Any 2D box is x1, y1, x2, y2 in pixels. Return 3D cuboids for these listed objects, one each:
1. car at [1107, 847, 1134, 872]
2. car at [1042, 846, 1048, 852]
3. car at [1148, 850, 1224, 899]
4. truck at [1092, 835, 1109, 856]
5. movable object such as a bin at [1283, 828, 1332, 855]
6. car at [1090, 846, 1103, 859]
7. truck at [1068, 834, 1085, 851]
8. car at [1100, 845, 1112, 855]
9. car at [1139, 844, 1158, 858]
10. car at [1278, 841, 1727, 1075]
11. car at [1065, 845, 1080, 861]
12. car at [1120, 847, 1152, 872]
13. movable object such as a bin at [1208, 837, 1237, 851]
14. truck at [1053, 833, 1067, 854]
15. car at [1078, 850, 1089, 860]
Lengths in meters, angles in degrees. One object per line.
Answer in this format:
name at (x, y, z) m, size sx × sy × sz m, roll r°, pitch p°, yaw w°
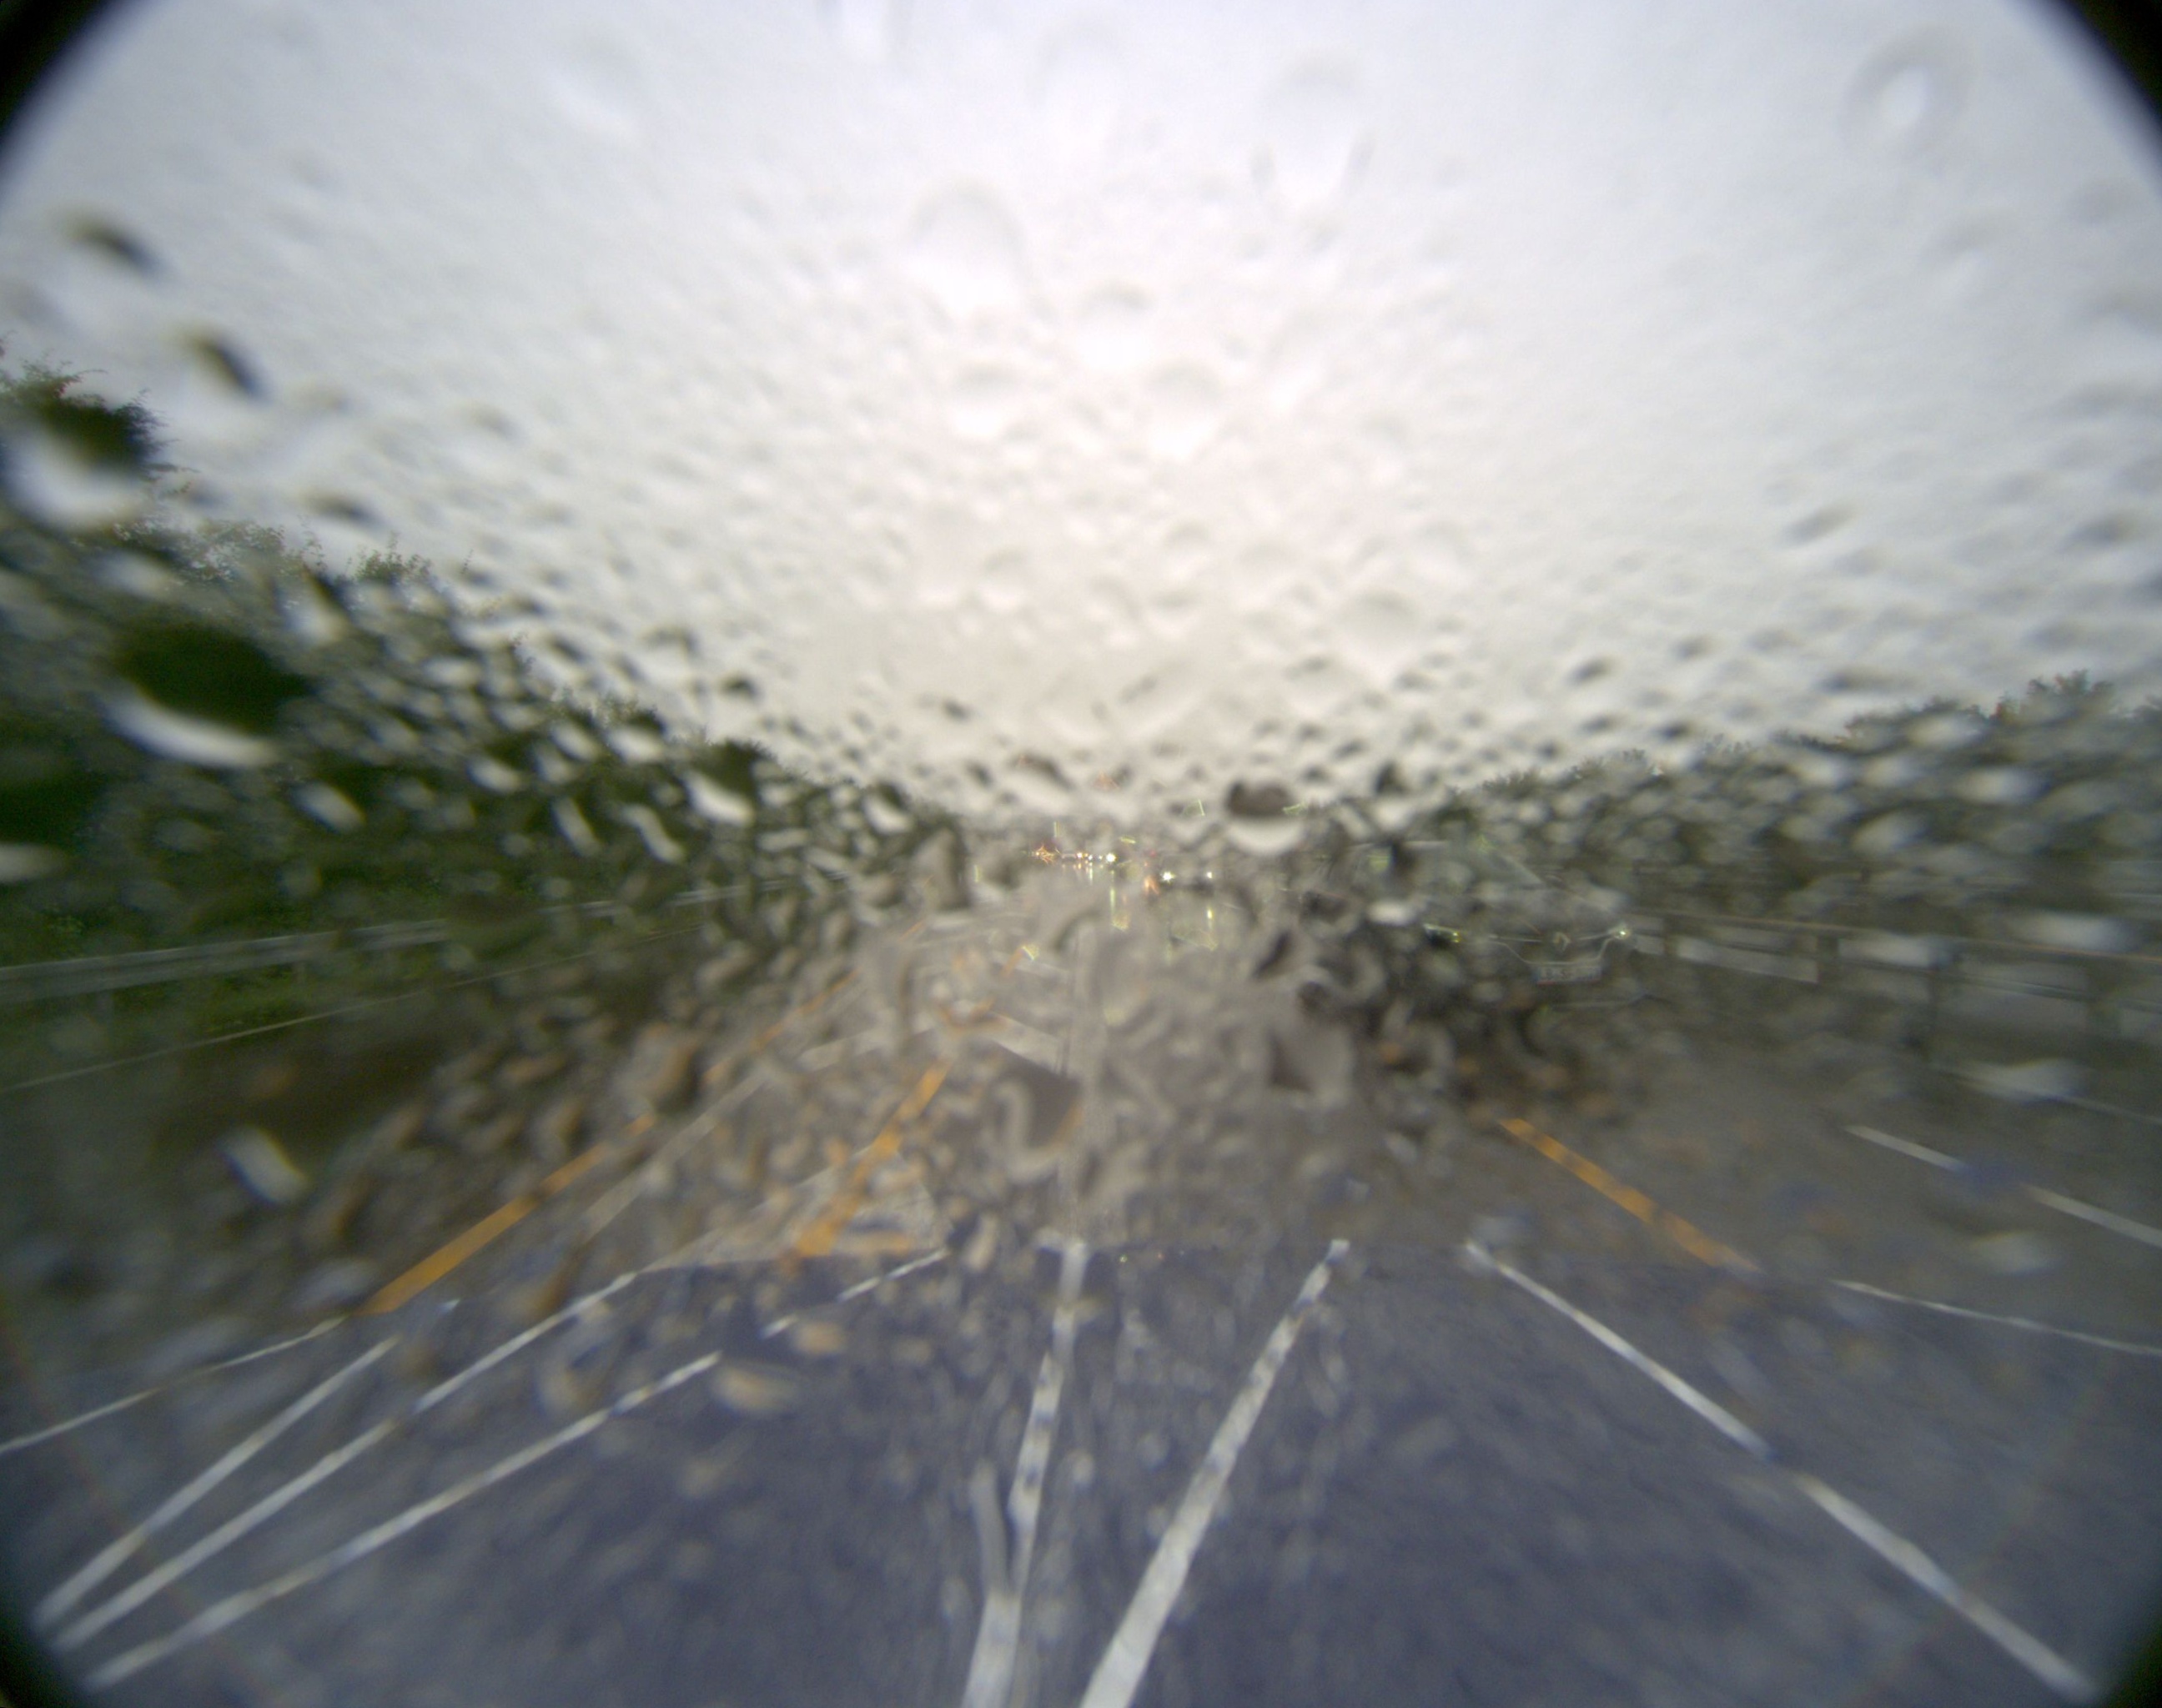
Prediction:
car at (3.538, 0.463, 69.076) m, size 2.211 × 2.002 × 5.563 m, roll -2°, pitch 1°, yaw 1°
car at (-10.848, -1.510, 229.815) m, size 1.752 × 1.579 × 3.999 m, roll -2°, pitch 1°, yaw -1°
car at (3.655, 0.666, 27.244) m, size 1.999 × 1.489 × 4.630 m, roll -2°, pitch 1°, yaw -1°
truck at (4.709, -2.086, 183.642) m, size 3.283 × 4.809 × 15.981 m, roll -2°, pitch 1°, yaw -1°
movable object such as a bin at (26.024, -1.408, 87.650) m, size 3.774 × 2.782 × 6.329 m, roll -2°, pitch 1°, yaw 0°
car at (2.168, -0.243, 106.102) m, size 1.695 × 1.740 × 3.999 m, roll -2°, pitch 1°, yaw -1°
truck at (-1.469, -3.587, 240.767) m, size 3.284 × 4.809 × 15.974 m, roll -2°, pitch 1°, yaw -7°
car at (4.546, -0.718, 139.835) m, size 1.956 × 1.707 × 5.102 m, roll -2°, pitch 1°, yaw -1°
car at (9.029, -0.459, 102.424) m, size 1.956 × 1.707 × 5.102 m, roll -2°, pitch 1°, yaw -1°
car at (3.548, 0.708, 7.559) m, size 1.998 × 1.576 × 4.413 m, roll -2°, pitch 1°, yaw 0°
car at (-1.179, -0.121, 102.126) m, size 1.881 × 2.002 × 3.999 m, roll -2°, pitch 1°, yaw -1°
car at (3.702, 0.379, 51.890) m, size 1.978 × 1.586 × 4.310 m, roll -1°, pitch -1°, yaw 2°
movable object such as a bin at (24.043, -1.660, 129.010) m, size 3.448 × 2.281 × 5.097 m, roll -2°, pitch 1°, yaw -7°
truck at (-4.174, -2.046, 150.209) m, size 2.484 × 4.061 × 8.702 m, roll -2°, pitch 1°, yaw 0°
car at (0.405, 0.214, 134.240) m, size 1.845 × 1.586 × 3.999 m, roll -2°, pitch 1°, yaw -1°
